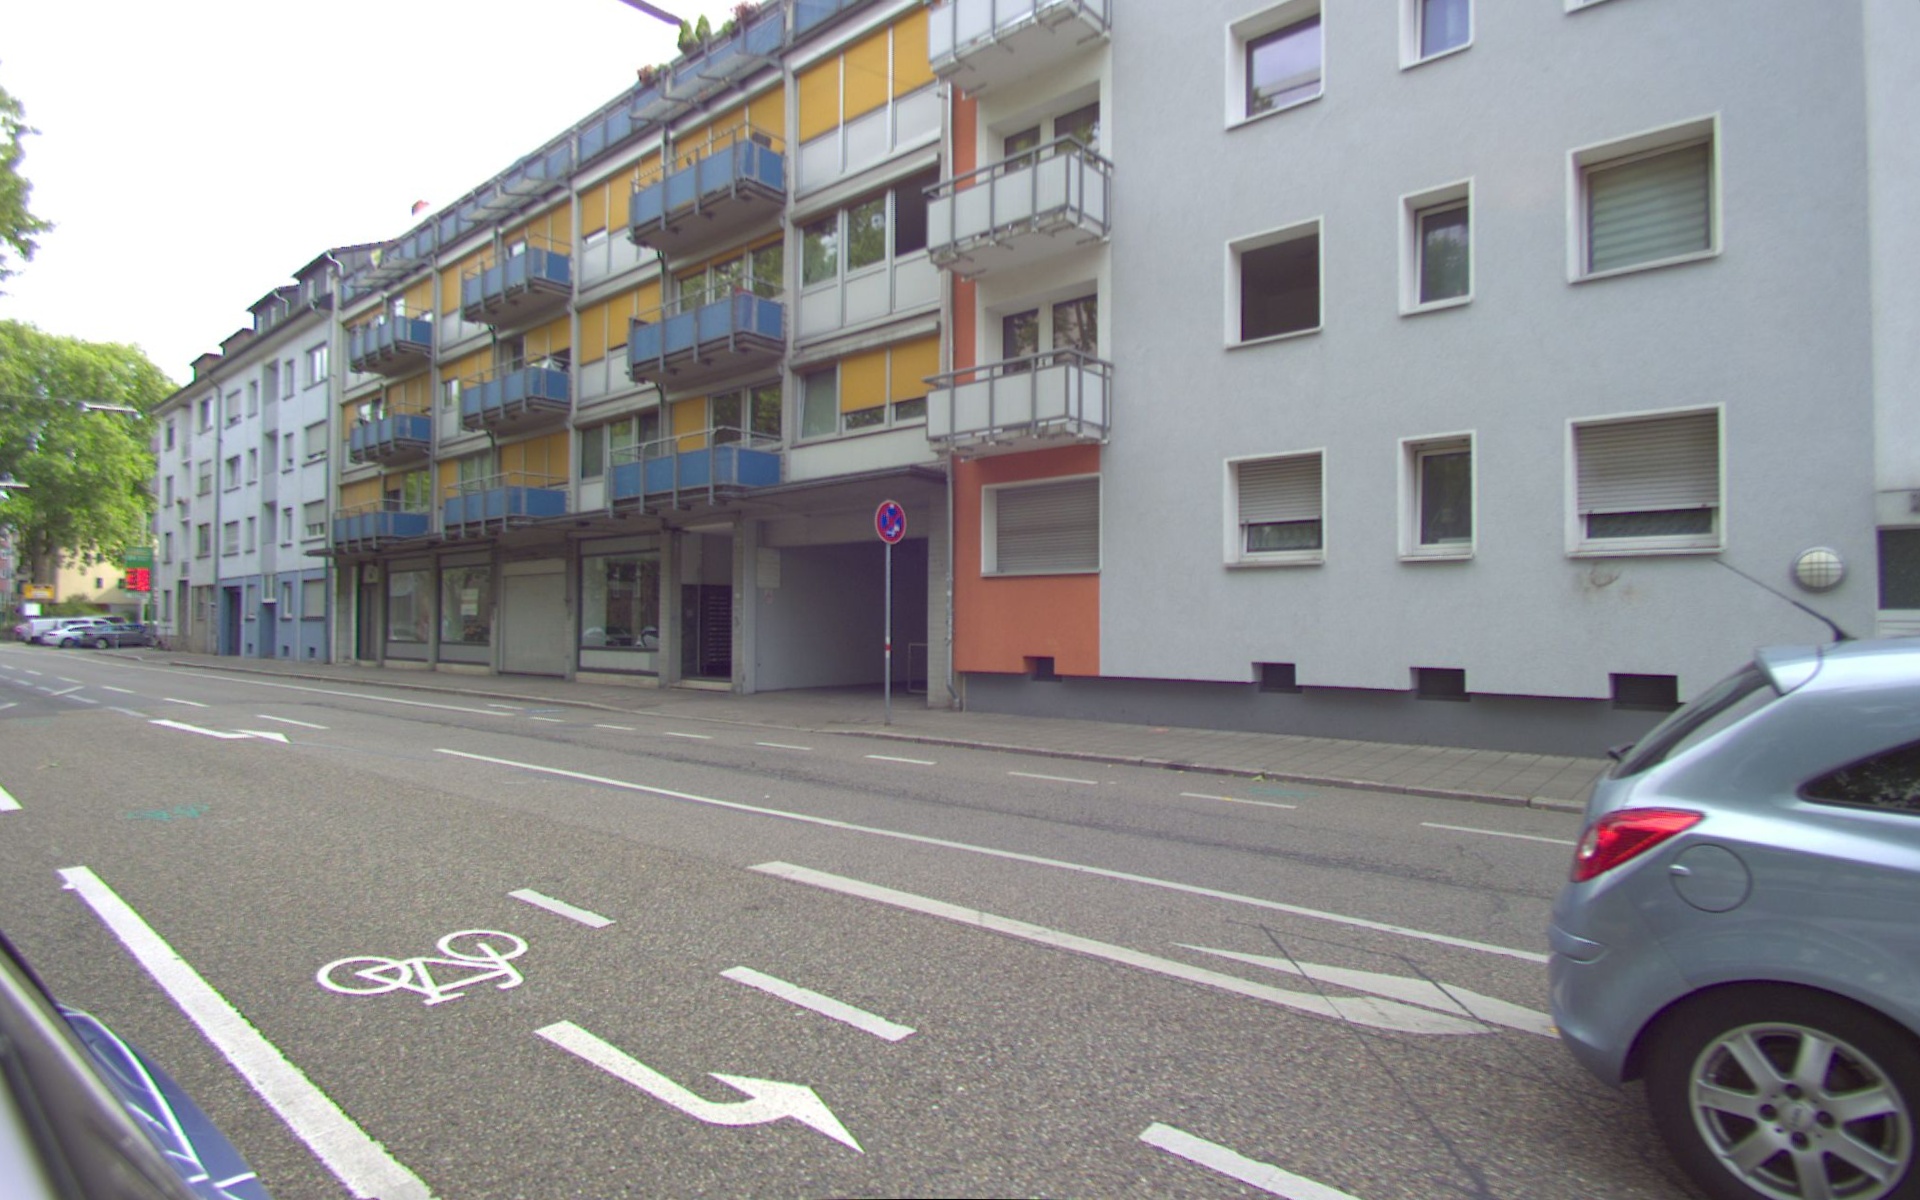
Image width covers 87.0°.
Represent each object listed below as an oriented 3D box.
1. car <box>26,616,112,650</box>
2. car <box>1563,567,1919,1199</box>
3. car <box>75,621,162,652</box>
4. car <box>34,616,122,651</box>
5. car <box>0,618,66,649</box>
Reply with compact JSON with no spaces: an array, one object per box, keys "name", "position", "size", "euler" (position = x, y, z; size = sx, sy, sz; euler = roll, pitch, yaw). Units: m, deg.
[{"name":"car","position":[-57.358,2.095,65.188],"size":[1.999,2.029,3.946],"euler":[-1,0,40]},{"name":"car","position":[3.500,0.652,1.923],"size":[3.818,1.450,1.651],"euler":[-1,-2,41]},{"name":"car","position":[-51.015,2.208,61.397],"size":[1.881,1.701,3.821],"euler":[-1,0,40]},{"name":"car","position":[-55.314,2.087,63.502],"size":[1.999,2.029,3.946],"euler":[-1,0,40]},{"name":"car","position":[-64.995,2.336,70.441],"size":[1.999,2.029,3.946],"euler":[-1,0,40]}]
